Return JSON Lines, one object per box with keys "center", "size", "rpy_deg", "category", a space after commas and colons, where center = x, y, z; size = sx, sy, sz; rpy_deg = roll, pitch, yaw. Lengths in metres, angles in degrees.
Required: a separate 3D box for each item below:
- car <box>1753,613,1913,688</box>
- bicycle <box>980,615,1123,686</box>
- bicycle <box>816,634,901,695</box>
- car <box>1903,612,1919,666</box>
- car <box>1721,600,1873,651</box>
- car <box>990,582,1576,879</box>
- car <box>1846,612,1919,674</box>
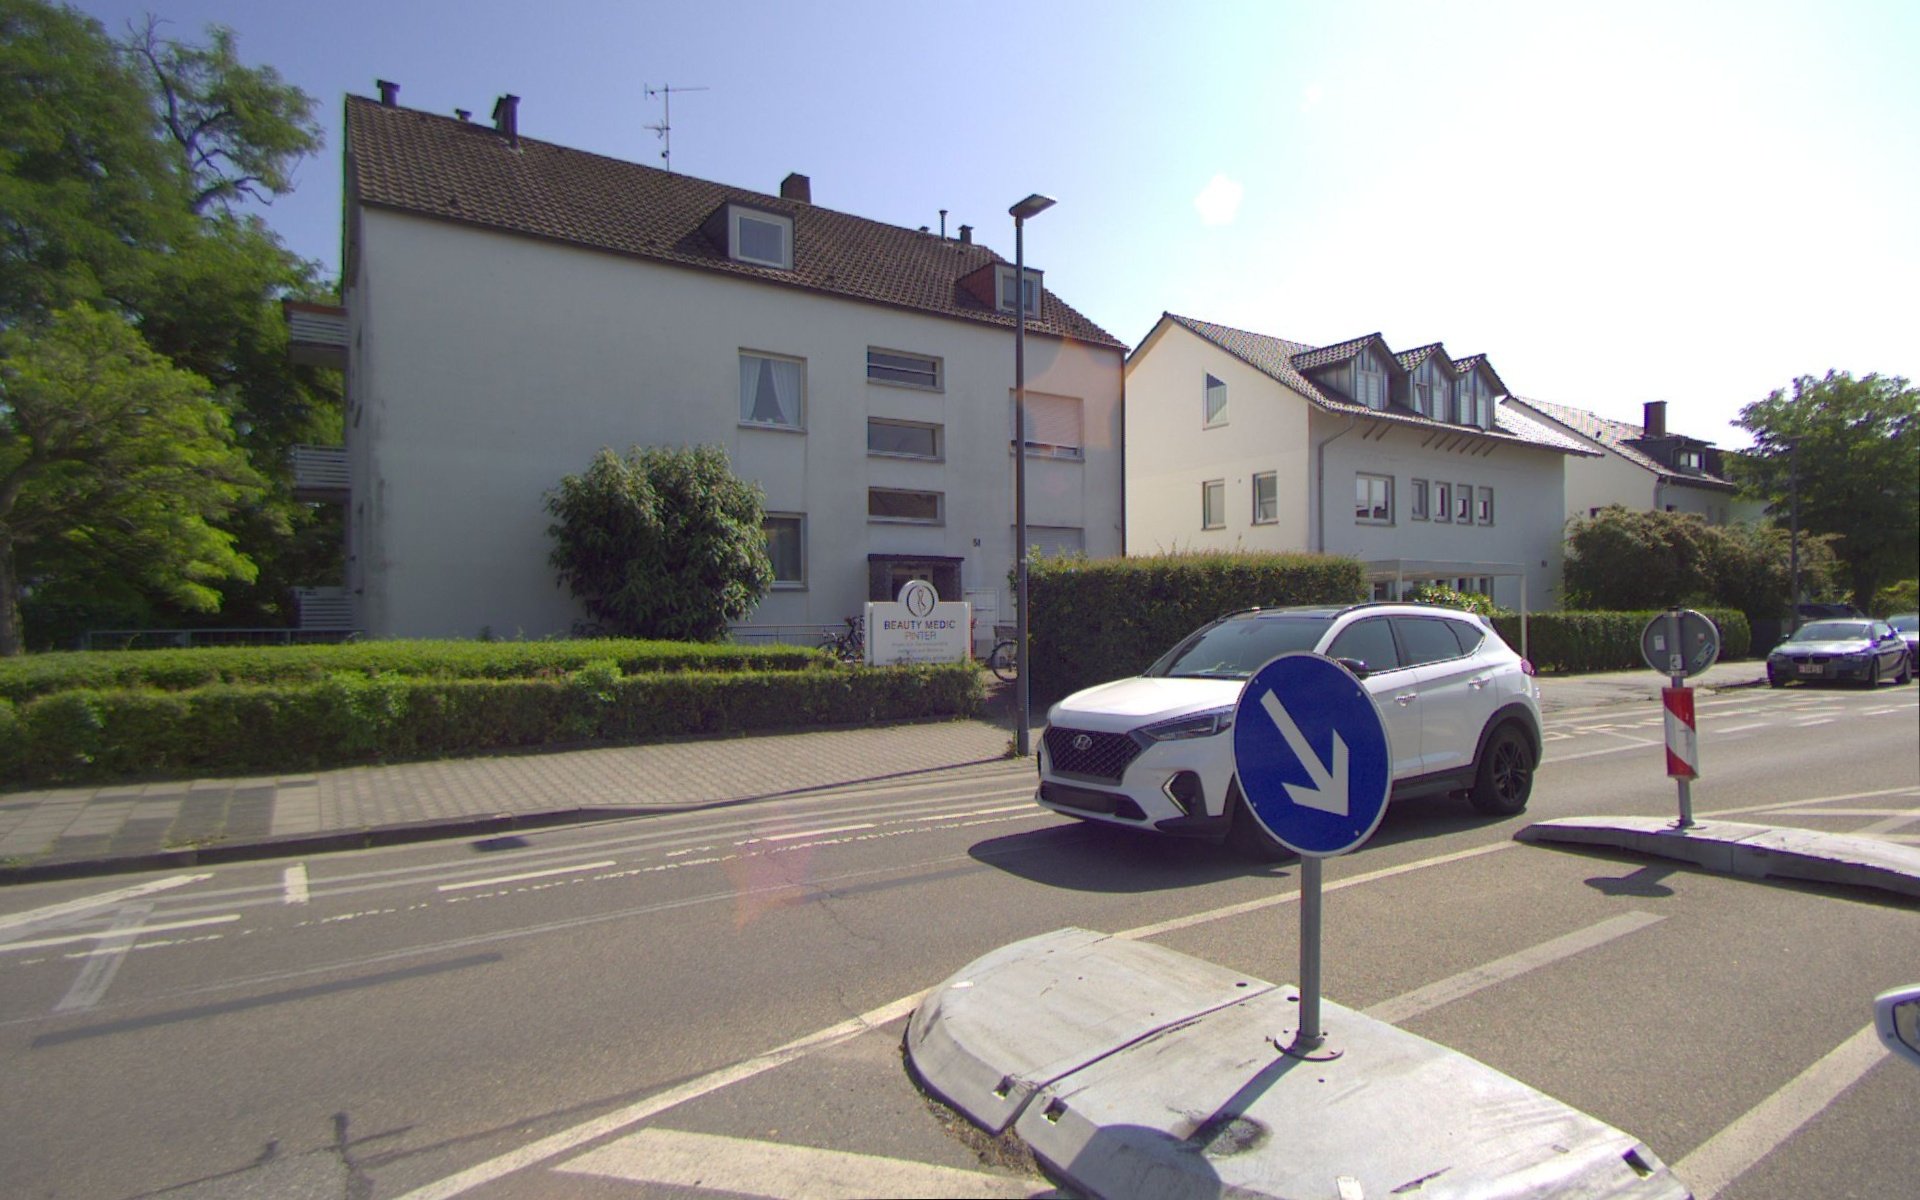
{"center": [19.035, 1.060, 21.855], "size": [4.115, 1.459, 1.773], "rpy_deg": [0, -2, -37], "category": "car"}
{"center": [1.572, 0.849, 17.383], "size": [2.393, 1.121, 0.537], "rpy_deg": [-1, 5, 26], "category": "bicycle"}
{"center": [-1.596, 1.006, 15.898], "size": [1.358, 0.886, 0.330], "rpy_deg": [1, 3, -40], "category": "bicycle"}
{"center": [28.374, 1.073, 28.284], "size": [3.957, 1.459, 1.775], "rpy_deg": [0, -1, -33], "category": "car"}
{"center": [31.102, 0.906, 37.446], "size": [1.978, 1.783, 3.965], "rpy_deg": [0, 0, -32], "category": "car"}
{"center": [2.602, 0.798, 7.753], "size": [4.457, 1.688, 1.904], "rpy_deg": [0, -2, -33], "category": "car"}
{"center": [24.226, 1.044, 25.311], "size": [4.065, 1.459, 1.776], "rpy_deg": [0, -2, -32], "category": "car"}
